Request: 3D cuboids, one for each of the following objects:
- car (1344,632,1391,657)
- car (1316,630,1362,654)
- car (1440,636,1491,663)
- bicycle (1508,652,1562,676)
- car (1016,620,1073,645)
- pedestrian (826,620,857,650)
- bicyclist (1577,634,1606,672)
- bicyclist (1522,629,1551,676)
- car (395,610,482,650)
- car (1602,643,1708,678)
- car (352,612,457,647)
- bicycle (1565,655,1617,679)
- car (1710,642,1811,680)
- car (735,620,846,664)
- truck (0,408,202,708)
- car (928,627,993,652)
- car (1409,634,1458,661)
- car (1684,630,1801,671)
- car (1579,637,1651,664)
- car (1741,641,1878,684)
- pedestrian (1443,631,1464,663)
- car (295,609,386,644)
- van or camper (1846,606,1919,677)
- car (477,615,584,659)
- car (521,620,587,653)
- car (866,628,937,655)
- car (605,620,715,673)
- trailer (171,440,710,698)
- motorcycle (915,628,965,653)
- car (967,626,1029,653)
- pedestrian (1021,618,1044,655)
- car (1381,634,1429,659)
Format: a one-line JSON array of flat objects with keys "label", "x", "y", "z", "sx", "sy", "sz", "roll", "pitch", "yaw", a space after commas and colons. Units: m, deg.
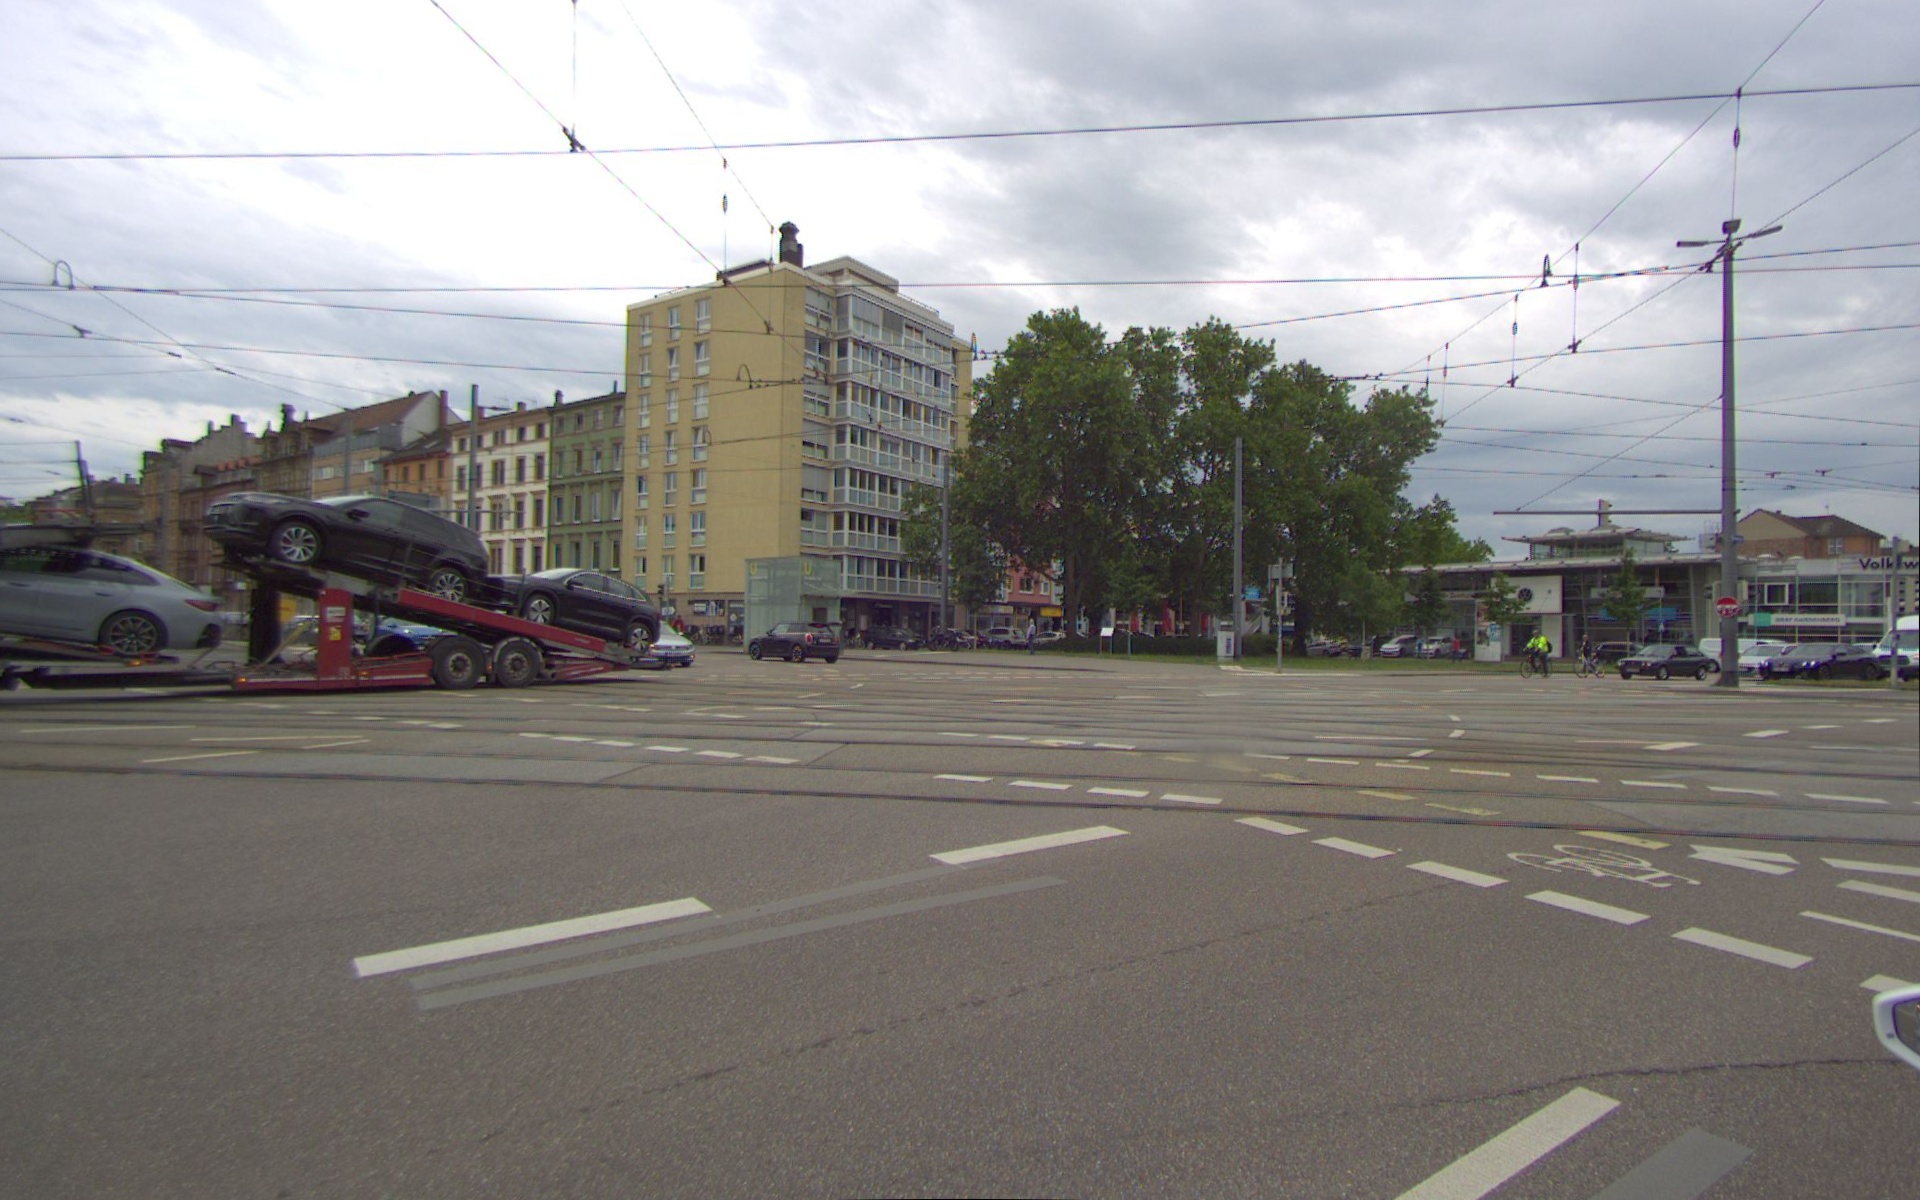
[{"label": "car", "x": 35.968, "y": 3.946, "z": 88.740, "sx": 3.960, "sy": 2.040, "sz": 1.981, "roll": 3, "pitch": -1, "yaw": -35}, {"label": "car", "x": 34.324, "y": 3.847, "z": 91.010, "sx": 3.960, "sy": 2.040, "sz": 1.981, "roll": 3, "pitch": -1, "yaw": -35}, {"label": "car", "x": 40.872, "y": 3.974, "z": 81.234, "sx": 3.960, "sy": 2.040, "sz": 1.981, "roll": 3, "pitch": -1, "yaw": -35}, {"label": "bicycle", "x": 22.636, "y": 2.511, "z": 39.538, "sx": 2.188, "sy": 0.942, "sz": 0.518, "roll": 1, "pitch": -1, "yaw": -19}, {"label": "car", "x": 6.607, "y": 2.521, "z": 78.516, "sx": 3.929, "sy": 1.728, "sz": 1.996, "roll": 1, "pitch": -1, "yaw": 31}, {"label": "pedestrian", "x": -6.580, "y": 1.944, "z": 55.721, "sx": 1.308, "sy": 1.661, "sz": 1.038, "roll": 0, "pitch": -2, "yaw": 31}, {"label": "bicyclist", "x": 25.483, "y": 2.135, "z": 40.523, "sx": 0.843, "sy": 1.528, "sz": 0.565, "roll": 0, "pitch": -1, "yaw": -19}, {"label": "bicyclist", "x": 22.658, "y": 2.045, "z": 39.480, "sx": 0.785, "sy": 1.827, "sz": 0.627, "roll": 1, "pitch": -1, "yaw": -18}, {"label": "car", "x": -25.124, "y": 1.409, "z": 48.339, "sx": 3.931, "sy": 1.751, "sz": 1.995, "roll": 1, "pitch": -1, "yaw": 33}, {"label": "car", "x": 26.775, "y": 2.311, "z": 38.724, "sx": 3.685, "sy": 1.263, "sz": 1.683, "roll": 2, "pitch": -2, "yaw": -23}, {"label": "car", "x": -22.997, "y": 1.218, "z": 41.570, "sx": 3.928, "sy": 1.327, "sz": 1.997, "roll": 0, "pitch": -2, "yaw": 29}, {"label": "bicycle", "x": 25.459, "y": 2.678, "z": 40.518, "sx": 2.188, "sy": 0.938, "sz": 0.518, "roll": 1, "pitch": -1, "yaw": -19}, {"label": "car", "x": 31.983, "y": 2.435, "z": 40.133, "sx": 3.685, "sy": 1.439, "sz": 1.632, "roll": 2, "pitch": -2, "yaw": -23}, {"label": "car", "x": -6.112, "y": 1.483, "z": 36.064, "sx": 3.938, "sy": 1.488, "sz": 1.768, "roll": 0, "pitch": -2, "yaw": 38}, {"label": "truck", "x": -16.044, "y": -0.686, "z": 12.483, "sx": 10.372, "sy": 3.972, "sz": 2.980, "roll": 3, "pitch": -1, "yaw": -40}, {"label": "car", "x": 0.044, "y": 2.657, "z": 68.294, "sx": 3.930, "sy": 1.572, "sz": 1.996, "roll": 0, "pitch": -2, "yaw": 32}, {"label": "car", "x": 39.479, "y": 3.963, "z": 83.711, "sx": 3.960, "sy": 2.040, "sz": 1.981, "roll": 3, "pitch": -1, "yaw": -35}, {"label": "car", "x": 43.727, "y": 2.769, "z": 56.275, "sx": 2.090, "sy": 2.040, "sz": 4.756, "roll": 2, "pitch": -1, "yaw": -22}, {"label": "car", "x": 37.637, "y": 2.913, "z": 57.709, "sx": 3.681, "sy": 1.439, "sz": 1.633, "roll": 2, "pitch": -1, "yaw": -20}, {"label": "car", "x": 31.005, "y": 2.275, "z": 36.663, "sx": 4.596, "sy": 1.439, "sz": 1.989, "roll": 2, "pitch": -2, "yaw": -23}, {"label": "pedestrian", "x": 30.462, "y": 2.915, "z": 62.016, "sx": 0.846, "sy": 1.925, "sz": 0.708, "roll": 2, "pitch": -1, "yaw": -9}, {"label": "car", "x": -27.957, "y": 1.187, "z": 45.332, "sx": 3.931, "sy": 1.461, "sz": 1.995, "roll": 0, "pitch": -2, "yaw": 33}, {"label": "van or camper", "x": 37.935, "y": 1.654, "z": 39.362, "sx": 5.965, "sy": 2.645, "sz": 2.410, "roll": 2, "pitch": -1, "yaw": -23}, {"label": "car", "x": -16.154, "y": 1.389, "z": 37.761, "sx": 3.558, "sy": 1.513, "sz": 1.996, "roll": 1, "pitch": -1, "yaw": 31}, {"label": "car", "x": -23.105, "y": 2.054, "z": 57.349, "sx": 2.040, "sy": 1.778, "sz": 4.001, "roll": 2, "pitch": -1, "yaw": 1}, {"label": "car", "x": -3.632, "y": 2.519, "z": 61.851, "sx": 3.930, "sy": 1.572, "sz": 1.996, "roll": 0, "pitch": -2, "yaw": 32}, {"label": "car", "x": -9.562, "y": 1.422, "z": 31.750, "sx": 1.980, "sy": 1.513, "sz": 4.633, "roll": 2, "pitch": -2, "yaw": -35}, {"label": "trailer", "x": -9.728, "y": -0.366, "z": 20.519, "sx": 2.944, "sy": 4.025, "sz": 9.533, "roll": 2, "pitch": -1, "yaw": 32}, {"label": "motorcycle", "x": -1.039, "y": 2.082, "z": 51.769, "sx": 2.506, "sy": 1.194, "sz": 0.862, "roll": 1, "pitch": -1, "yaw": 36}, {"label": "car", "x": 2.728, "y": 2.801, "z": 71.988, "sx": 3.929, "sy": 1.728, "sz": 1.996, "roll": 1, "pitch": -1, "yaw": 31}, {"label": "pedestrian", "x": 3.507, "y": 1.765, "z": 48.437, "sx": 0.898, "sy": 1.742, "sz": 0.707, "roll": 2, "pitch": -1, "yaw": 23}, {"label": "car", "x": 38.004, "y": 3.961, "z": 85.735, "sx": 3.960, "sy": 2.040, "sz": 1.981, "roll": 3, "pitch": -1, "yaw": -35}]
